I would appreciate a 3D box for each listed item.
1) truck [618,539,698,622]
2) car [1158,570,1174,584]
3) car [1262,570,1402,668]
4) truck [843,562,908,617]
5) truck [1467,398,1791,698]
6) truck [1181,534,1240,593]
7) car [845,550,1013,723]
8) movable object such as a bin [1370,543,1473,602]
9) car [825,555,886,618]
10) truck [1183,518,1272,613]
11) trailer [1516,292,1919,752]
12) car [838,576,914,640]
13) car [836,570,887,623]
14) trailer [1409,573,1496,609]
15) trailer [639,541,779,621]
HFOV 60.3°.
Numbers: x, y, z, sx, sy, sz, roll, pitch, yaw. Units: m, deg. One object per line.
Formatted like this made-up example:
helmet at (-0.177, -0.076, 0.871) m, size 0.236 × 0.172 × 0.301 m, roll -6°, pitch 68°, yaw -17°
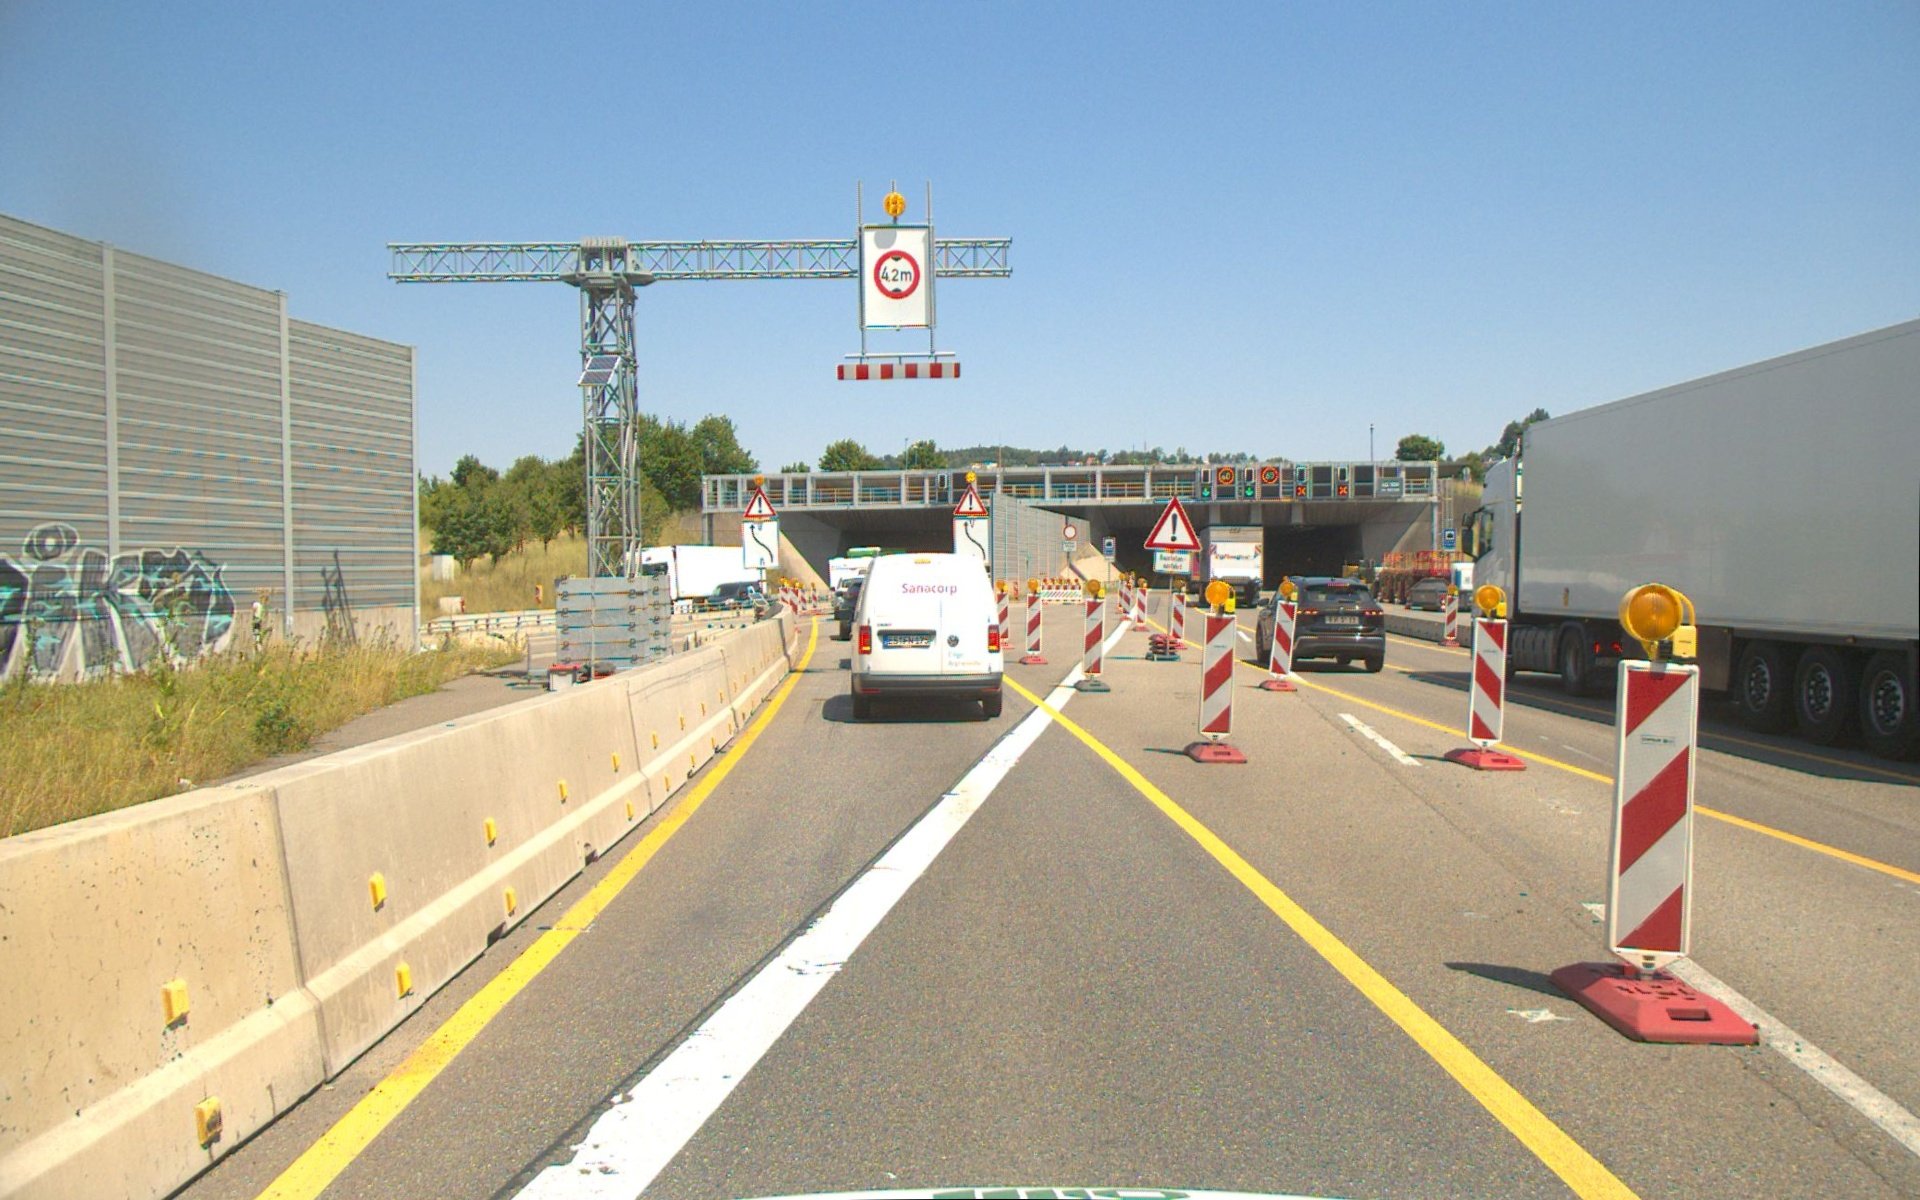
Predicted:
truck at (-17.188, -1.101, 94.256) m, size 2.608 × 4.578 × 4.846 m, roll 1°, pitch 1°, yaw 15°
car at (25.038, -2.800, 201.248) m, size 1.776 × 1.658 × 4.193 m, roll 1°, pitch 0°, yaw 5°
car at (6.772, 0.305, 30.483) m, size 1.777 × 1.658 × 4.191 m, roll 1°, pitch 0°, yaw 2°
truck at (-6.790, -0.881, 134.309) m, size 3.471 × 4.345 × 5.782 m, roll 0°, pitch 0°, yaw 18°
truck at (10.122, -0.737, 25.732) m, size 2.688 × 4.104 × 5.927 m, roll 1°, pitch 0°, yaw 1°
truck at (18.749, -2.630, 124.724) m, size 3.330 × 4.142 × 16.547 m, roll 1°, pitch 0°, yaw 5°
car at (-0.447, 0.378, 19.799) m, size 1.773 × 1.825 × 3.728 m, roll -1°, pitch 1°, yaw -4°
movable object such as a bin at (26.572, -1.527, 96.058) m, size 3.045 × 3.063 × 14.711 m, roll -2°, pitch 0°, yaw 5°
car at (-4.948, -0.602, 78.910) m, size 2.757 × 2.822 × 7.097 m, roll 0°, pitch 0°, yaw -3°
truck at (13.695, -1.585, 86.079) m, size 3.330 × 4.411 × 16.546 m, roll 1°, pitch 0°, yaw 5°
trailer at (10.024, -0.719, 19.022) m, size 2.676 × 4.133 × 14.097 m, roll 1°, pitch 0°, yaw 1°
car at (-2.288, 0.189, 44.121) m, size 1.773 × 1.564 × 4.404 m, roll -2°, pitch 1°, yaw -6°
car at (-3.640, -0.149, 60.798) m, size 1.773 × 1.846 × 4.406 m, roll -1°, pitch 1°, yaw -4°
trailer at (24.231, -0.468, 81.587) m, size 2.541 × 1.596 × 6.237 m, roll -2°, pitch 1°, yaw 1°
trailer at (-15.150, -1.183, 101.691) m, size 2.608 × 4.578 × 14.941 m, roll 1°, pitch 1°, yaw 15°
